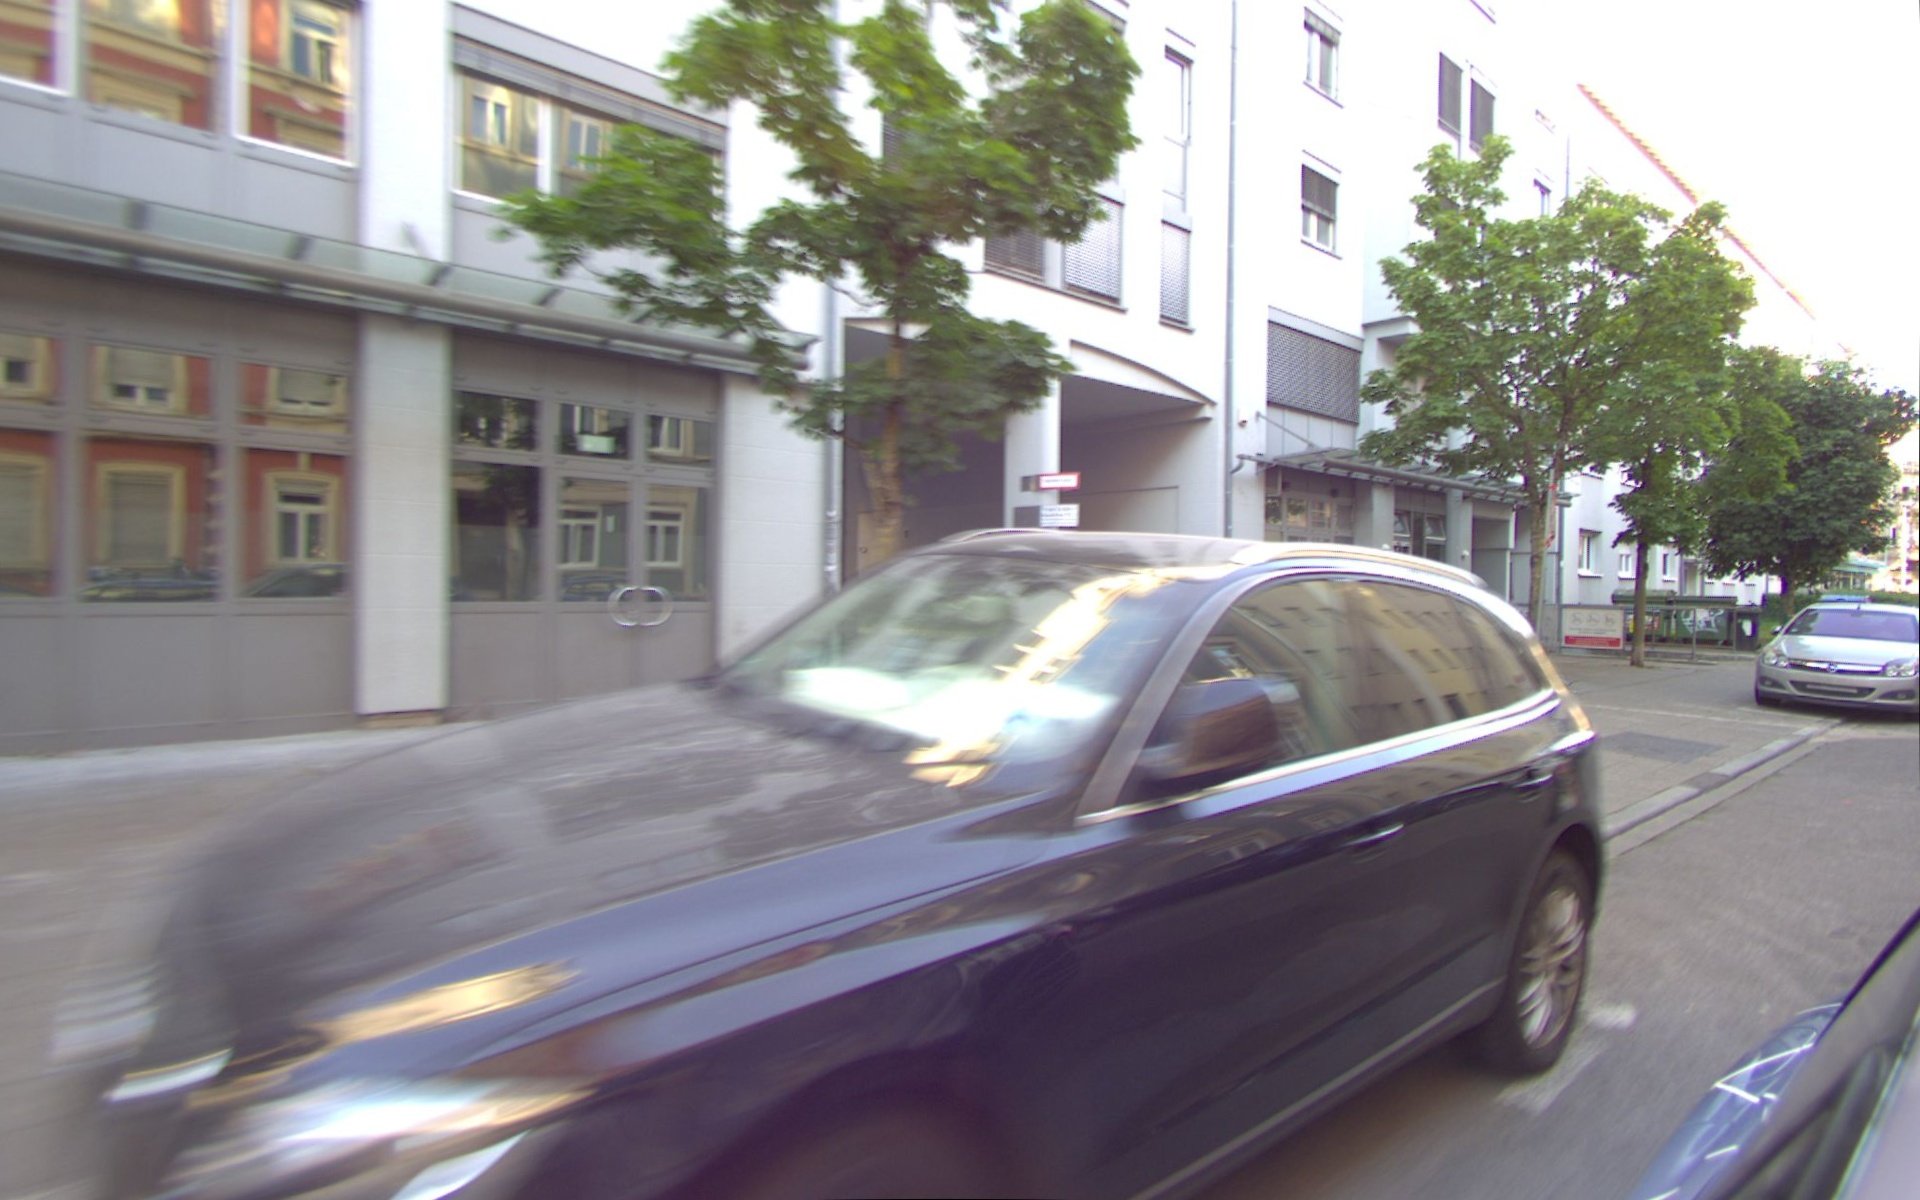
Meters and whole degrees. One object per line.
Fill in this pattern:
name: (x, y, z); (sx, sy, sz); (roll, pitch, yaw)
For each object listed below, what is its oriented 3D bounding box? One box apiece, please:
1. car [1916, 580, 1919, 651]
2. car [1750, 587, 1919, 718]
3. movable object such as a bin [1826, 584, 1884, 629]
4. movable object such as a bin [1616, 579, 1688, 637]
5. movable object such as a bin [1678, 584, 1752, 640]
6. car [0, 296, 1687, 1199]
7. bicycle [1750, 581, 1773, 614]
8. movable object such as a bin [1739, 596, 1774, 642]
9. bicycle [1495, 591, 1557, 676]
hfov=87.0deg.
car: (24.630, 0.366, 24.443); (4.643, 1.655, 1.874); (-1, 3, -43)
car: (12.290, 0.585, 13.654); (4.269, 1.446, 1.767); (-1, 3, -41)
movable object such as a bin: (30.281, 0.186, 34.255); (1.202, 1.454, 1.287); (0, 2, -41)
movable object such as a bin: (18.035, 0.183, 26.384); (1.119, 1.454, 1.264); (0, 2, -41)
movable object such as a bin: (19.062, 0.281, 25.550); (1.119, 1.337, 1.264); (0, 2, -41)
car: (0.313, 0.532, 2.897); (4.357, 1.642, 1.889); (-1, 3, -41)
bicycle: (28.552, -0.092, 36.062); (0.599, 1.104, 1.716); (3, 3, 38)
movable object such as a bin: (19.395, 0.448, 24.640); (0.615, 1.084, 0.529); (0, 2, -41)
bicycle: (8.625, 0.470, 15.390); (0.519, 1.182, 1.716); (3, 3, 38)
